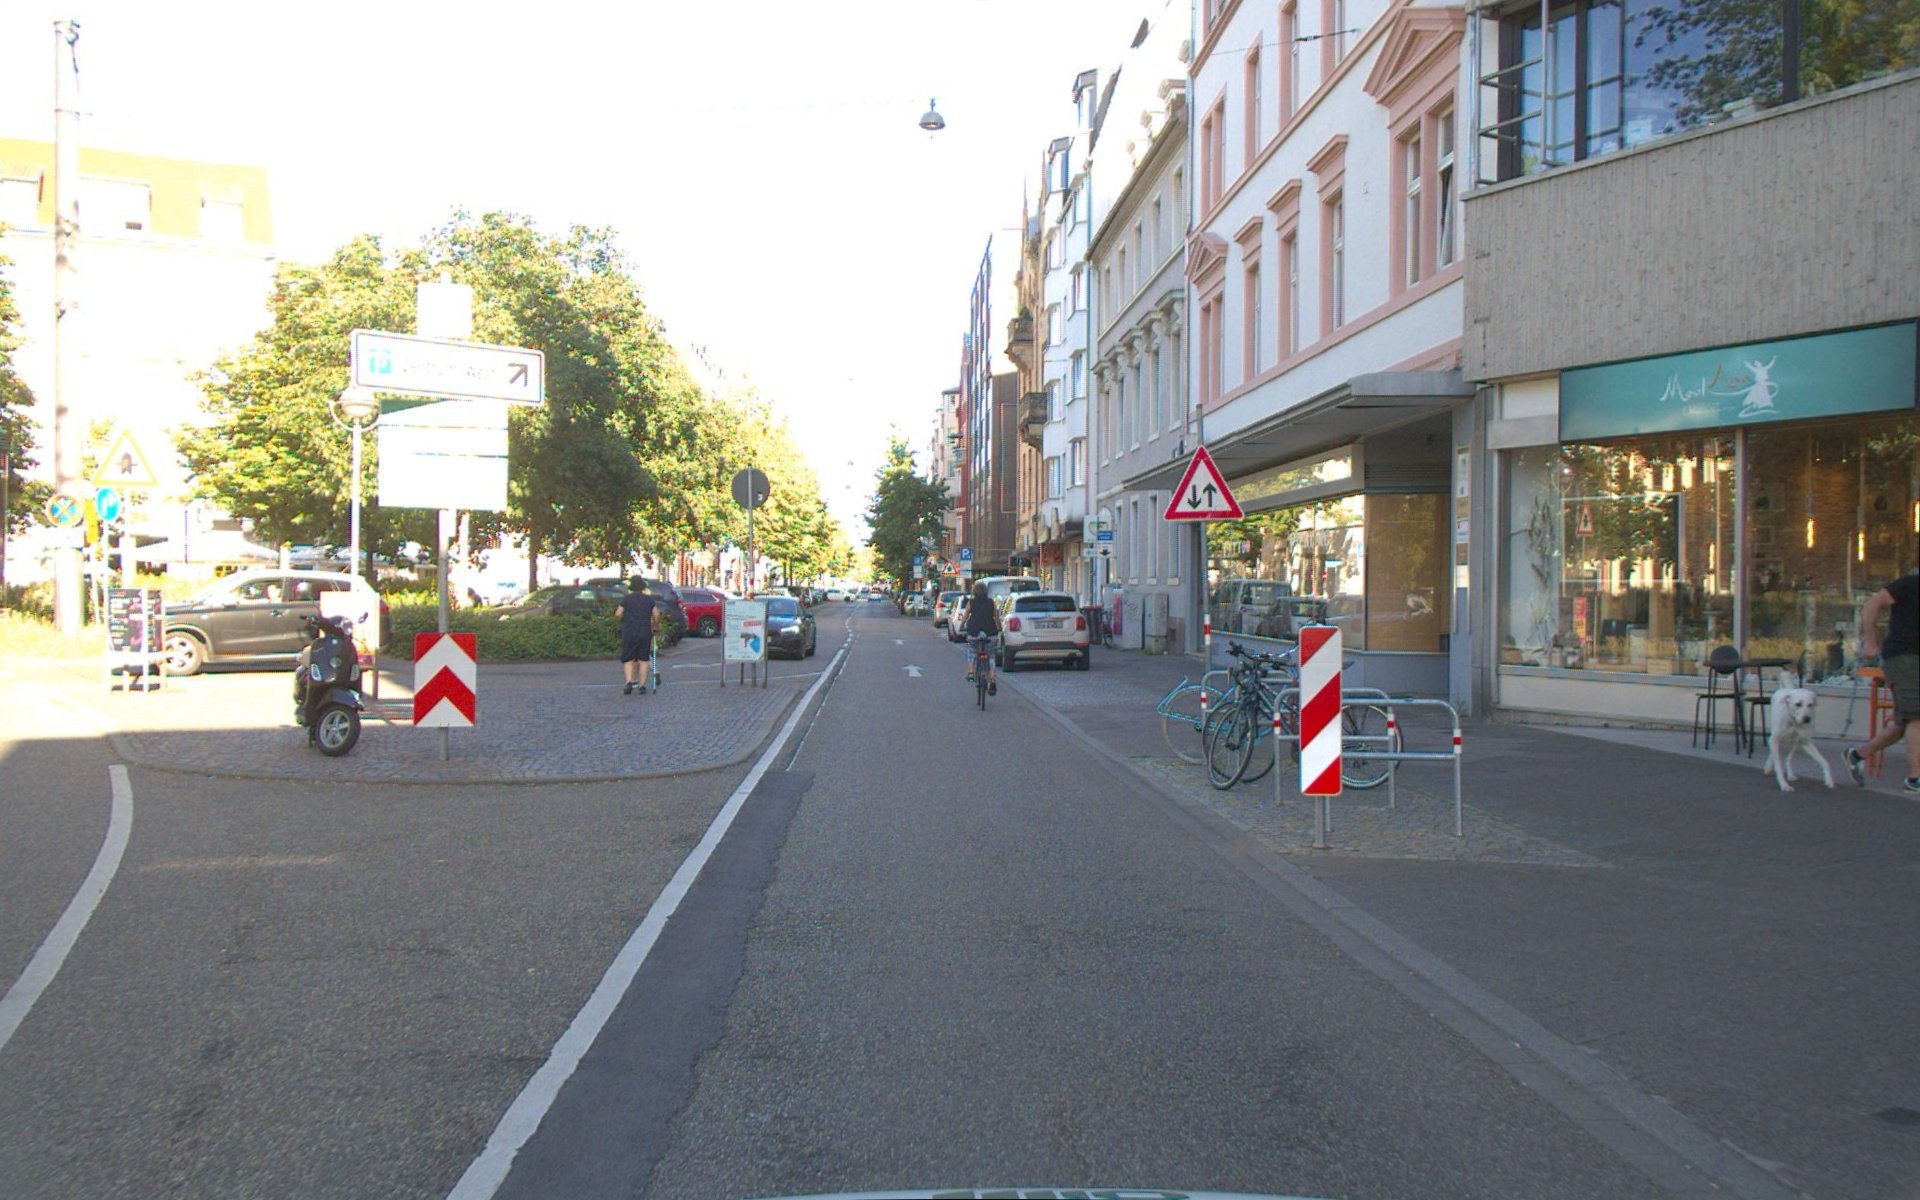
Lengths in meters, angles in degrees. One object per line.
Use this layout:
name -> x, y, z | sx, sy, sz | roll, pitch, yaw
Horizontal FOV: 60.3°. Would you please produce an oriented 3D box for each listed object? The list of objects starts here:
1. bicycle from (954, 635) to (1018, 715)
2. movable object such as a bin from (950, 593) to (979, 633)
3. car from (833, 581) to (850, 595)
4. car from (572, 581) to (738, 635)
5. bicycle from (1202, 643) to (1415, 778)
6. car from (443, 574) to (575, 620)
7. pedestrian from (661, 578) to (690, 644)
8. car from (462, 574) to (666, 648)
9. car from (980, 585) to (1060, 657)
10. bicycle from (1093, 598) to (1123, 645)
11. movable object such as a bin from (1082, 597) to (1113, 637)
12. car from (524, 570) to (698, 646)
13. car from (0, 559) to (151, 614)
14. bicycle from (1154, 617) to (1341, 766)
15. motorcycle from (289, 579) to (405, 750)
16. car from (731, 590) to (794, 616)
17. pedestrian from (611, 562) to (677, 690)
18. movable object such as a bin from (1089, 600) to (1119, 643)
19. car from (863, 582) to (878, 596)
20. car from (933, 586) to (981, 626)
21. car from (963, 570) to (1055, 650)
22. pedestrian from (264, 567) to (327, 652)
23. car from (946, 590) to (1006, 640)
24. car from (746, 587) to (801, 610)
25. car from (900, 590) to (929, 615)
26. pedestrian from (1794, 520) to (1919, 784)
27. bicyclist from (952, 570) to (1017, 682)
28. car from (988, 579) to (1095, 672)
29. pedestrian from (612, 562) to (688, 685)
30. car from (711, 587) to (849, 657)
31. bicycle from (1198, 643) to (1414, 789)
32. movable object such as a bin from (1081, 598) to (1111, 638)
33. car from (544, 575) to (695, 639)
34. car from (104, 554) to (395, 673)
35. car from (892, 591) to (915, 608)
bicycle -> 0.335, 0.994, 22.625 | 0.639, 0.975, 2.696 | 2, -1, -4
movable object such as a bin -> 0.191, 0.485, 64.929 | 1.051, 1.482, 1.493 | -2, 1, 2
car -> -14.614, -1.410, 203.750 | 1.953, 1.583, 3.998 | 2, -1, -2
car -> -9.504, 0.276, 51.654 | 4.777, 1.514, 1.749 | 2, -1, -27
bicycle -> 2.862, 0.892, 13.628 | 1.667, 1.022, 0.428 | 2, -1, 13
car -> -19.718, -0.122, 72.385 | 5.207, 1.831, 2.142 | 2, -1, -30
pedestrian -> -7.321, 0.284, 42.544 | 0.686, 1.678, 0.645 | 2, -1, -10
car -> -8.707, 0.253, 36.495 | 3.959, 1.495, 1.849 | 2, -1, -38
car -> 1.410, 0.509, 40.125 | 1.665, 1.632, 3.755 | 1, -1, -2
bicycle -> 3.936, 0.581, 43.865 | 0.473, 1.206, 1.721 | -2, -2, 15
movable object such as a bin -> 3.926, 0.491, 47.197 | 0.778, 1.095, 0.660 | -2, -1, -1
car -> -8.530, 0.186, 40.345 | 3.927, 1.697, 1.989 | 2, 0, -19
car -> -36.808, -0.528, 68.782 | 5.516, 2.049, 1.800 | 2, -1, -30
bicycle -> 2.636, 0.817, 15.111 | 1.587, 1.265, 0.659 | 1, -1, 17
motorcycle -> -5.371, 0.536, 14.430 | 0.736, 1.398, 1.746 | 2, -1, -26
car -> -12.970, 0.207, 108.747 | 3.907, 1.534, 1.999 | 2, -1, -2
pedestrian -> -4.307, 0.356, 22.526 | 0.630, 1.701, 0.685 | 2, -1, -32
movable object such as a bin -> 3.993, 0.598, 45.923 | 0.753, 1.181, 0.578 | 2, -1, 0
car -> -11.064, -1.398, 204.813 | 1.833, 1.583, 3.998 | 2, -1, -2
car -> -0.172, 0.309, 75.554 | 1.861, 1.704, 4.821 | 2, -1, -3
car -> 1.262, 0.240, 44.889 | 1.954, 2.040, 5.113 | 1, 0, -4
pedestrian -> -12.517, 0.179, 31.145 | 0.764, 1.549, 0.943 | 3, -1, -44
car -> 0.492, 0.499, 54.179 | 1.684, 1.541, 3.580 | -2, -1, -3
car -> -14.014, -0.111, 124.517 | 3.907, 1.534, 1.894 | 2, -1, -2
car -> -3.195, 0.213, 116.606 | 1.953, 1.646, 4.009 | 2, -1, -1
pedestrian -> 6.725, 0.372, 11.699 | 1.109, 1.773, 1.022 | 2, -1, -1
bicyclist -> 0.330, 0.358, 22.811 | 0.770, 1.478, 1.095 | 2, -1, -4
car -> 1.639, 0.538, 34.814 | 1.710, 1.769, 4.957 | 2, -1, -3
pedestrian -> -4.453, 0.332, 23.802 | 0.787, 1.729, 0.669 | 1, -1, 27
car -> -4.030, 0.517, 37.950 | 1.870, 1.441, 4.814 | 2, -1, 10
bicycle -> 2.766, 0.916, 13.255 | 1.643, 1.081, 0.344 | 2, -1, 13
movable object such as a bin -> 3.932, 0.524, 47.903 | 0.821, 1.157, 0.699 | 0, -1, 0
car -> -9.419, 0.211, 45.978 | 3.911, 1.626, 1.747 | 2, -1, -7
car -> -11.004, 0.206, 25.748 | 3.835, 1.711, 1.785 | 0, -1, -41
car -> -5.079, -0.089, 148.830 | 1.954, 1.478, 3.997 | 1, 0, -3
